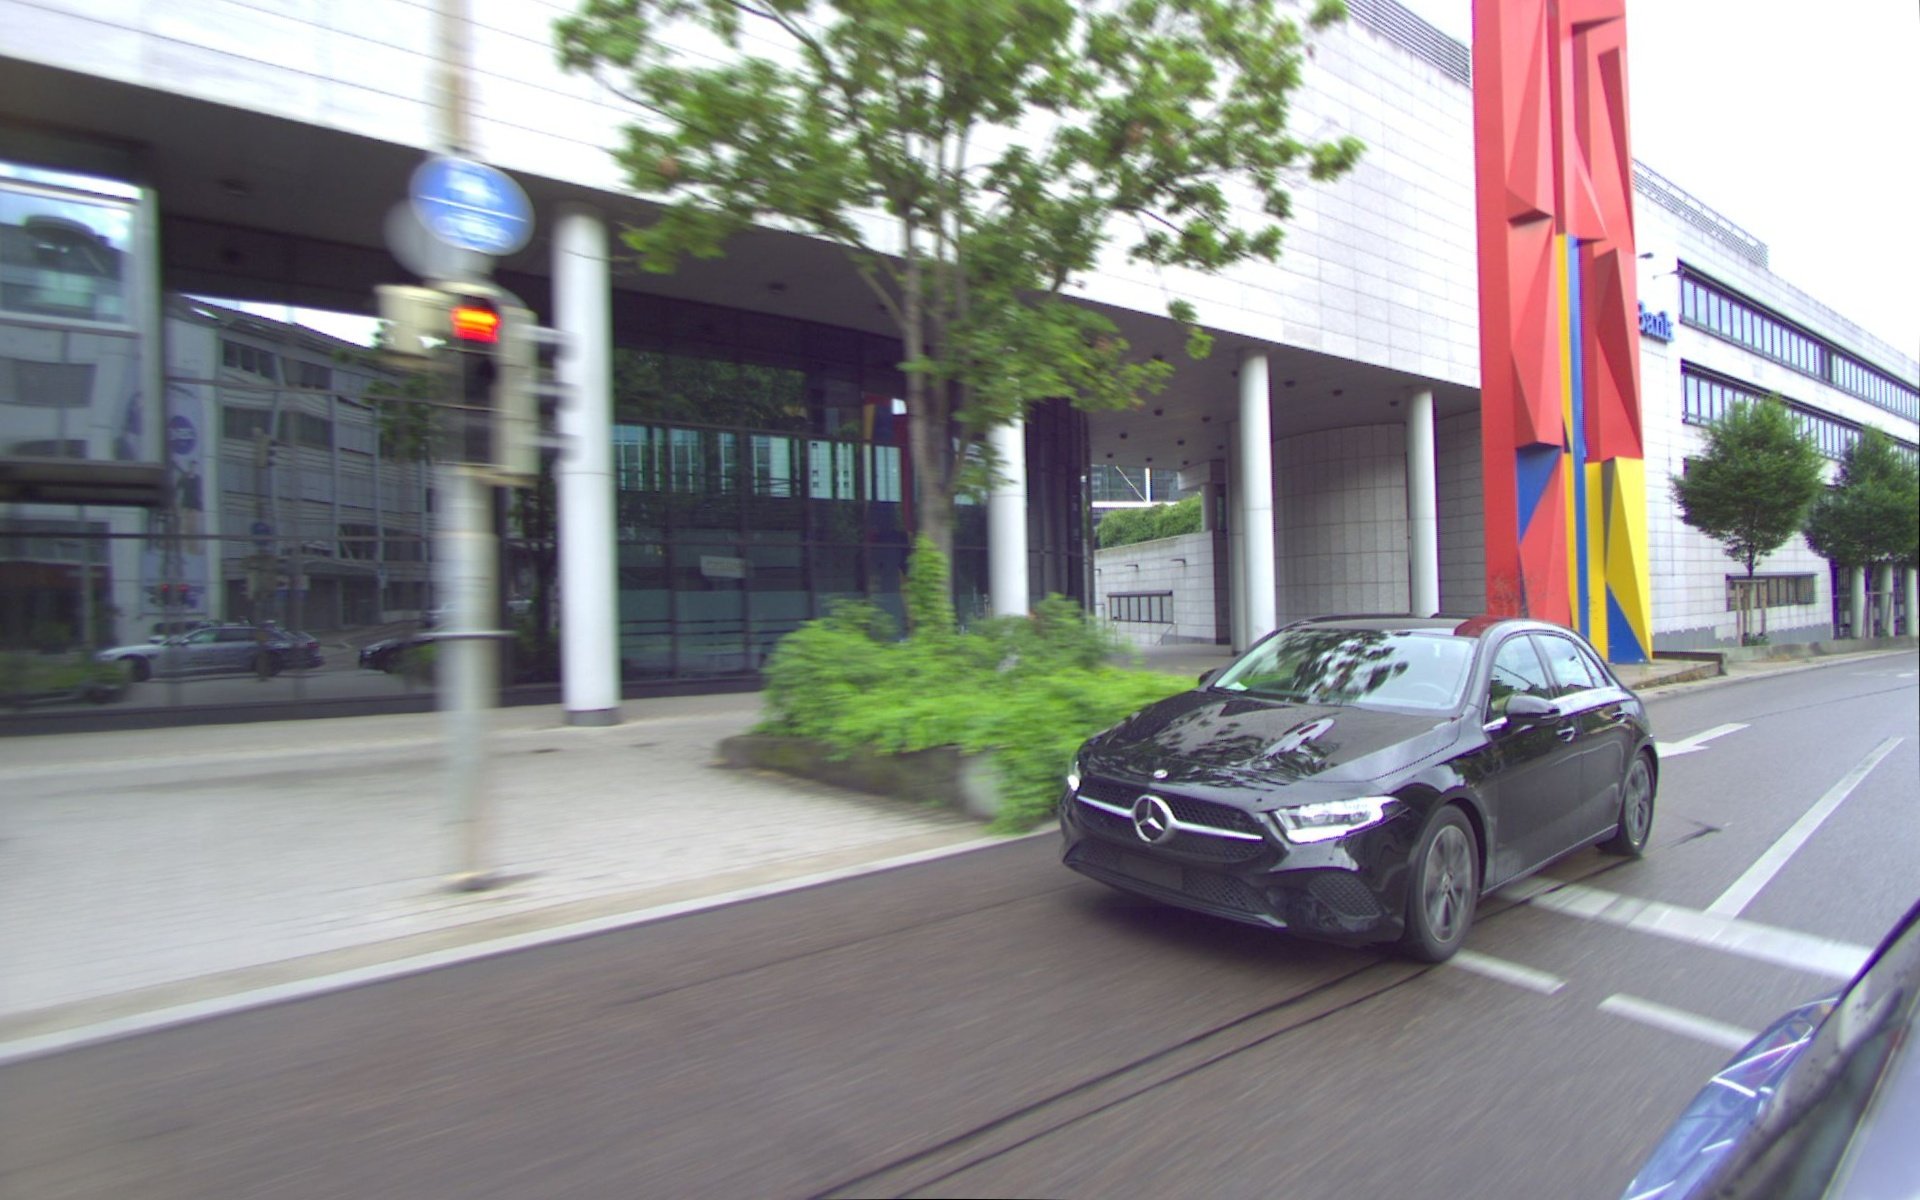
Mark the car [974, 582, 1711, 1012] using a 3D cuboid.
[{"bbox_3d":[2.264,0.694,5.468,4.128,1.455,1.877,1,-1,-38],"label":"car"}]

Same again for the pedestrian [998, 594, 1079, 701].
[{"bbox_3d":[1.227,0.714,15.895,0.827,1.606,0.971,1,0,-41],"label":"pedestrian"}]
